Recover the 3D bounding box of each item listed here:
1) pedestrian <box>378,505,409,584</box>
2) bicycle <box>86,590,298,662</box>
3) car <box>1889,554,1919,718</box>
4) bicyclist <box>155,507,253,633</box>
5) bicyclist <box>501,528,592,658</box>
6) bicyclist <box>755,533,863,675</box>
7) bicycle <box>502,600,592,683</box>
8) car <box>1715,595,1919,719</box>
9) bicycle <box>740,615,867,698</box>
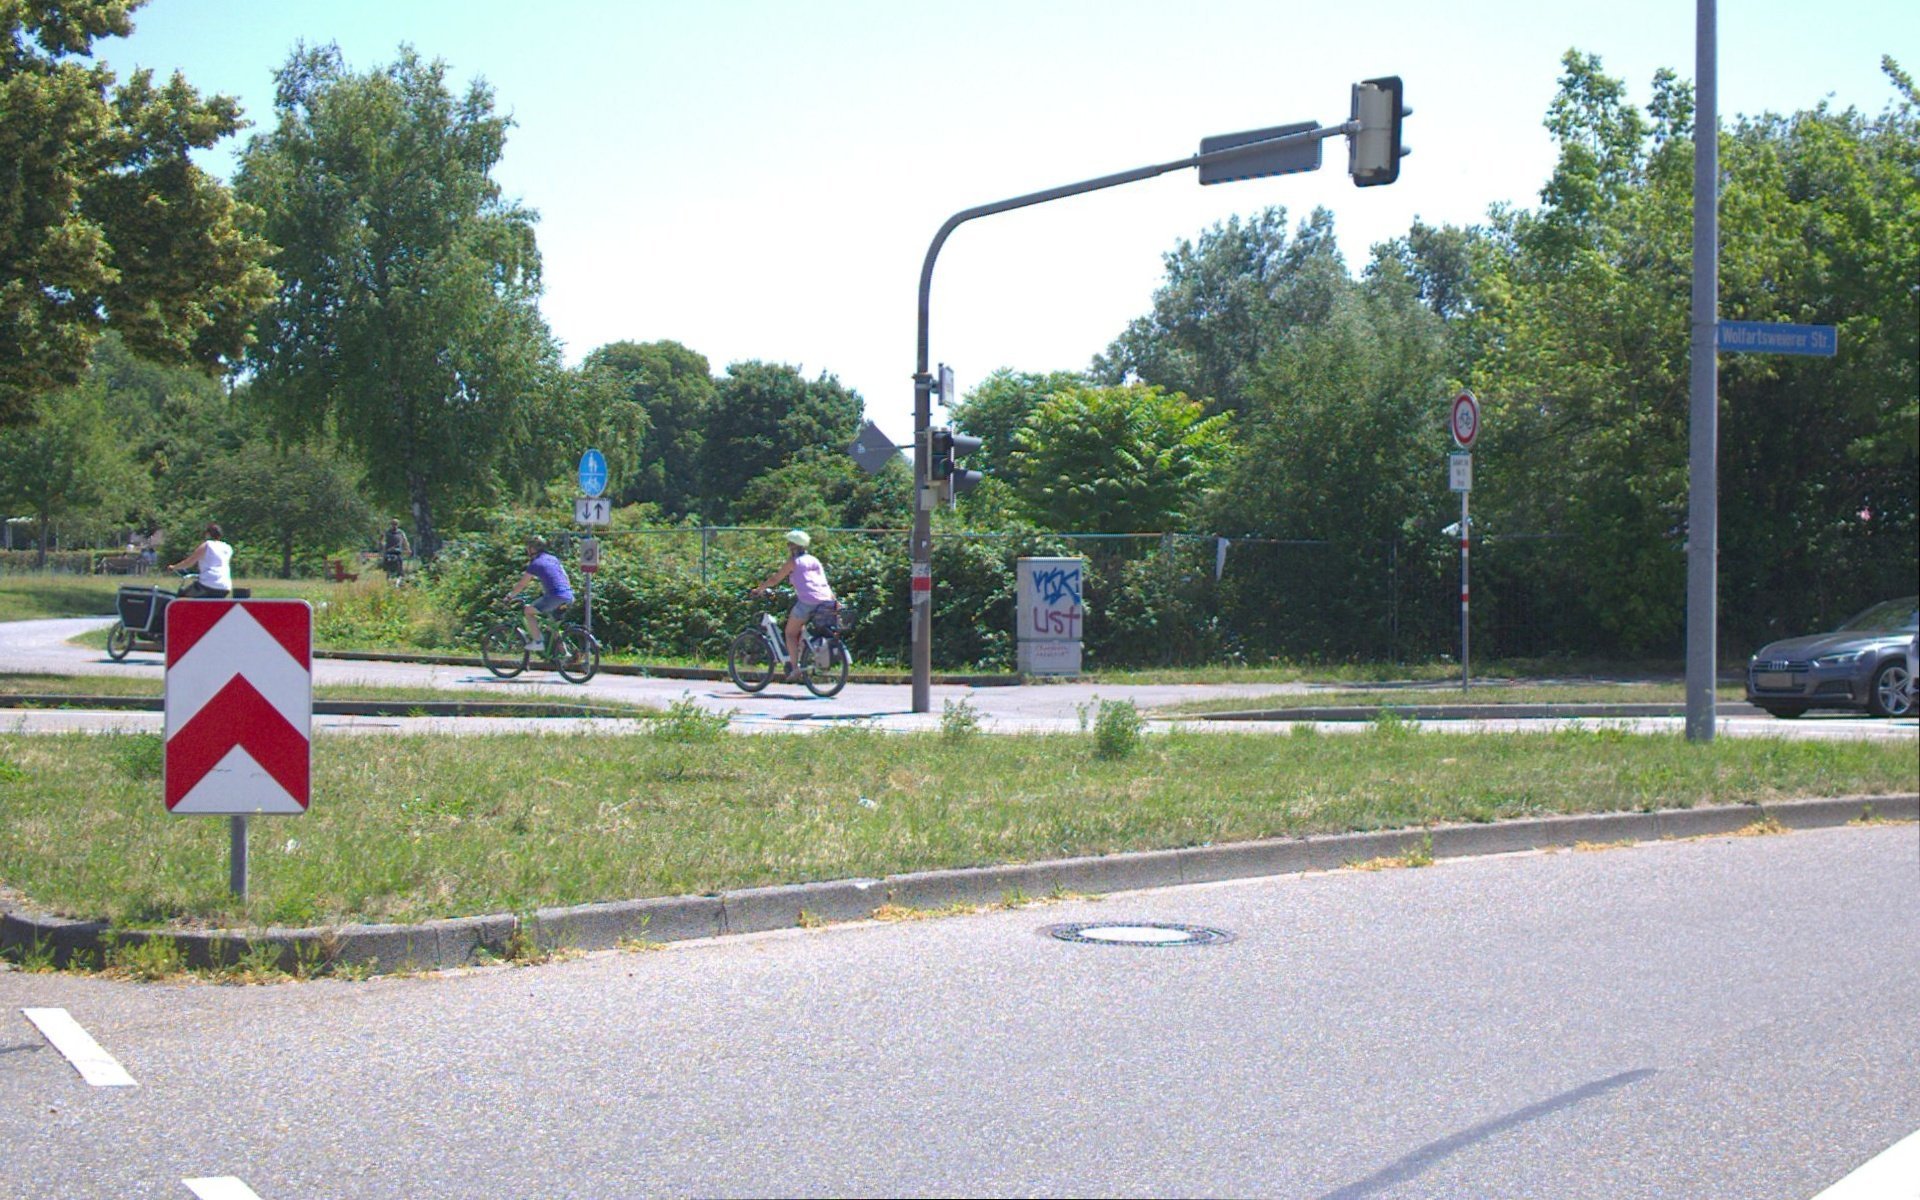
[{"bbox_3d":[-12.502,-1.219,75.912,0.573,1.725,0.675,0,-1,-1],"label":"pedestrian"},{"bbox_3d":[-9.927,0.334,44.370,2.924,0.909,0.739,0,-1,30],"label":"bicycle"},{"bbox_3d":[11.586,0.368,34.463,4.393,1.612,1.865,0,1,-31],"label":"car"},{"bbox_3d":[-9.736,-0.380,44.274,0.976,1.608,0.755,0,-1,29],"label":"bicyclist"},{"bbox_3d":[-5.012,-0.093,41.611,0.956,1.526,1.186,0,2,-13],"label":"bicyclist"},{"bbox_3d":[-1.751,0.049,39.649,0.956,1.604,1.186,0,0,-18],"label":"bicyclist"},{"bbox_3d":[-5.011,0.495,41.619,0.895,0.897,1.763,2,2,-12],"label":"bicycle"},{"bbox_3d":[10.626,0.601,37.980,4.393,1.266,1.865,0,1,-31],"label":"car"},{"bbox_3d":[-1.823,0.643,39.714,0.895,0.897,2.227,2,0,-18],"label":"bicycle"}]
